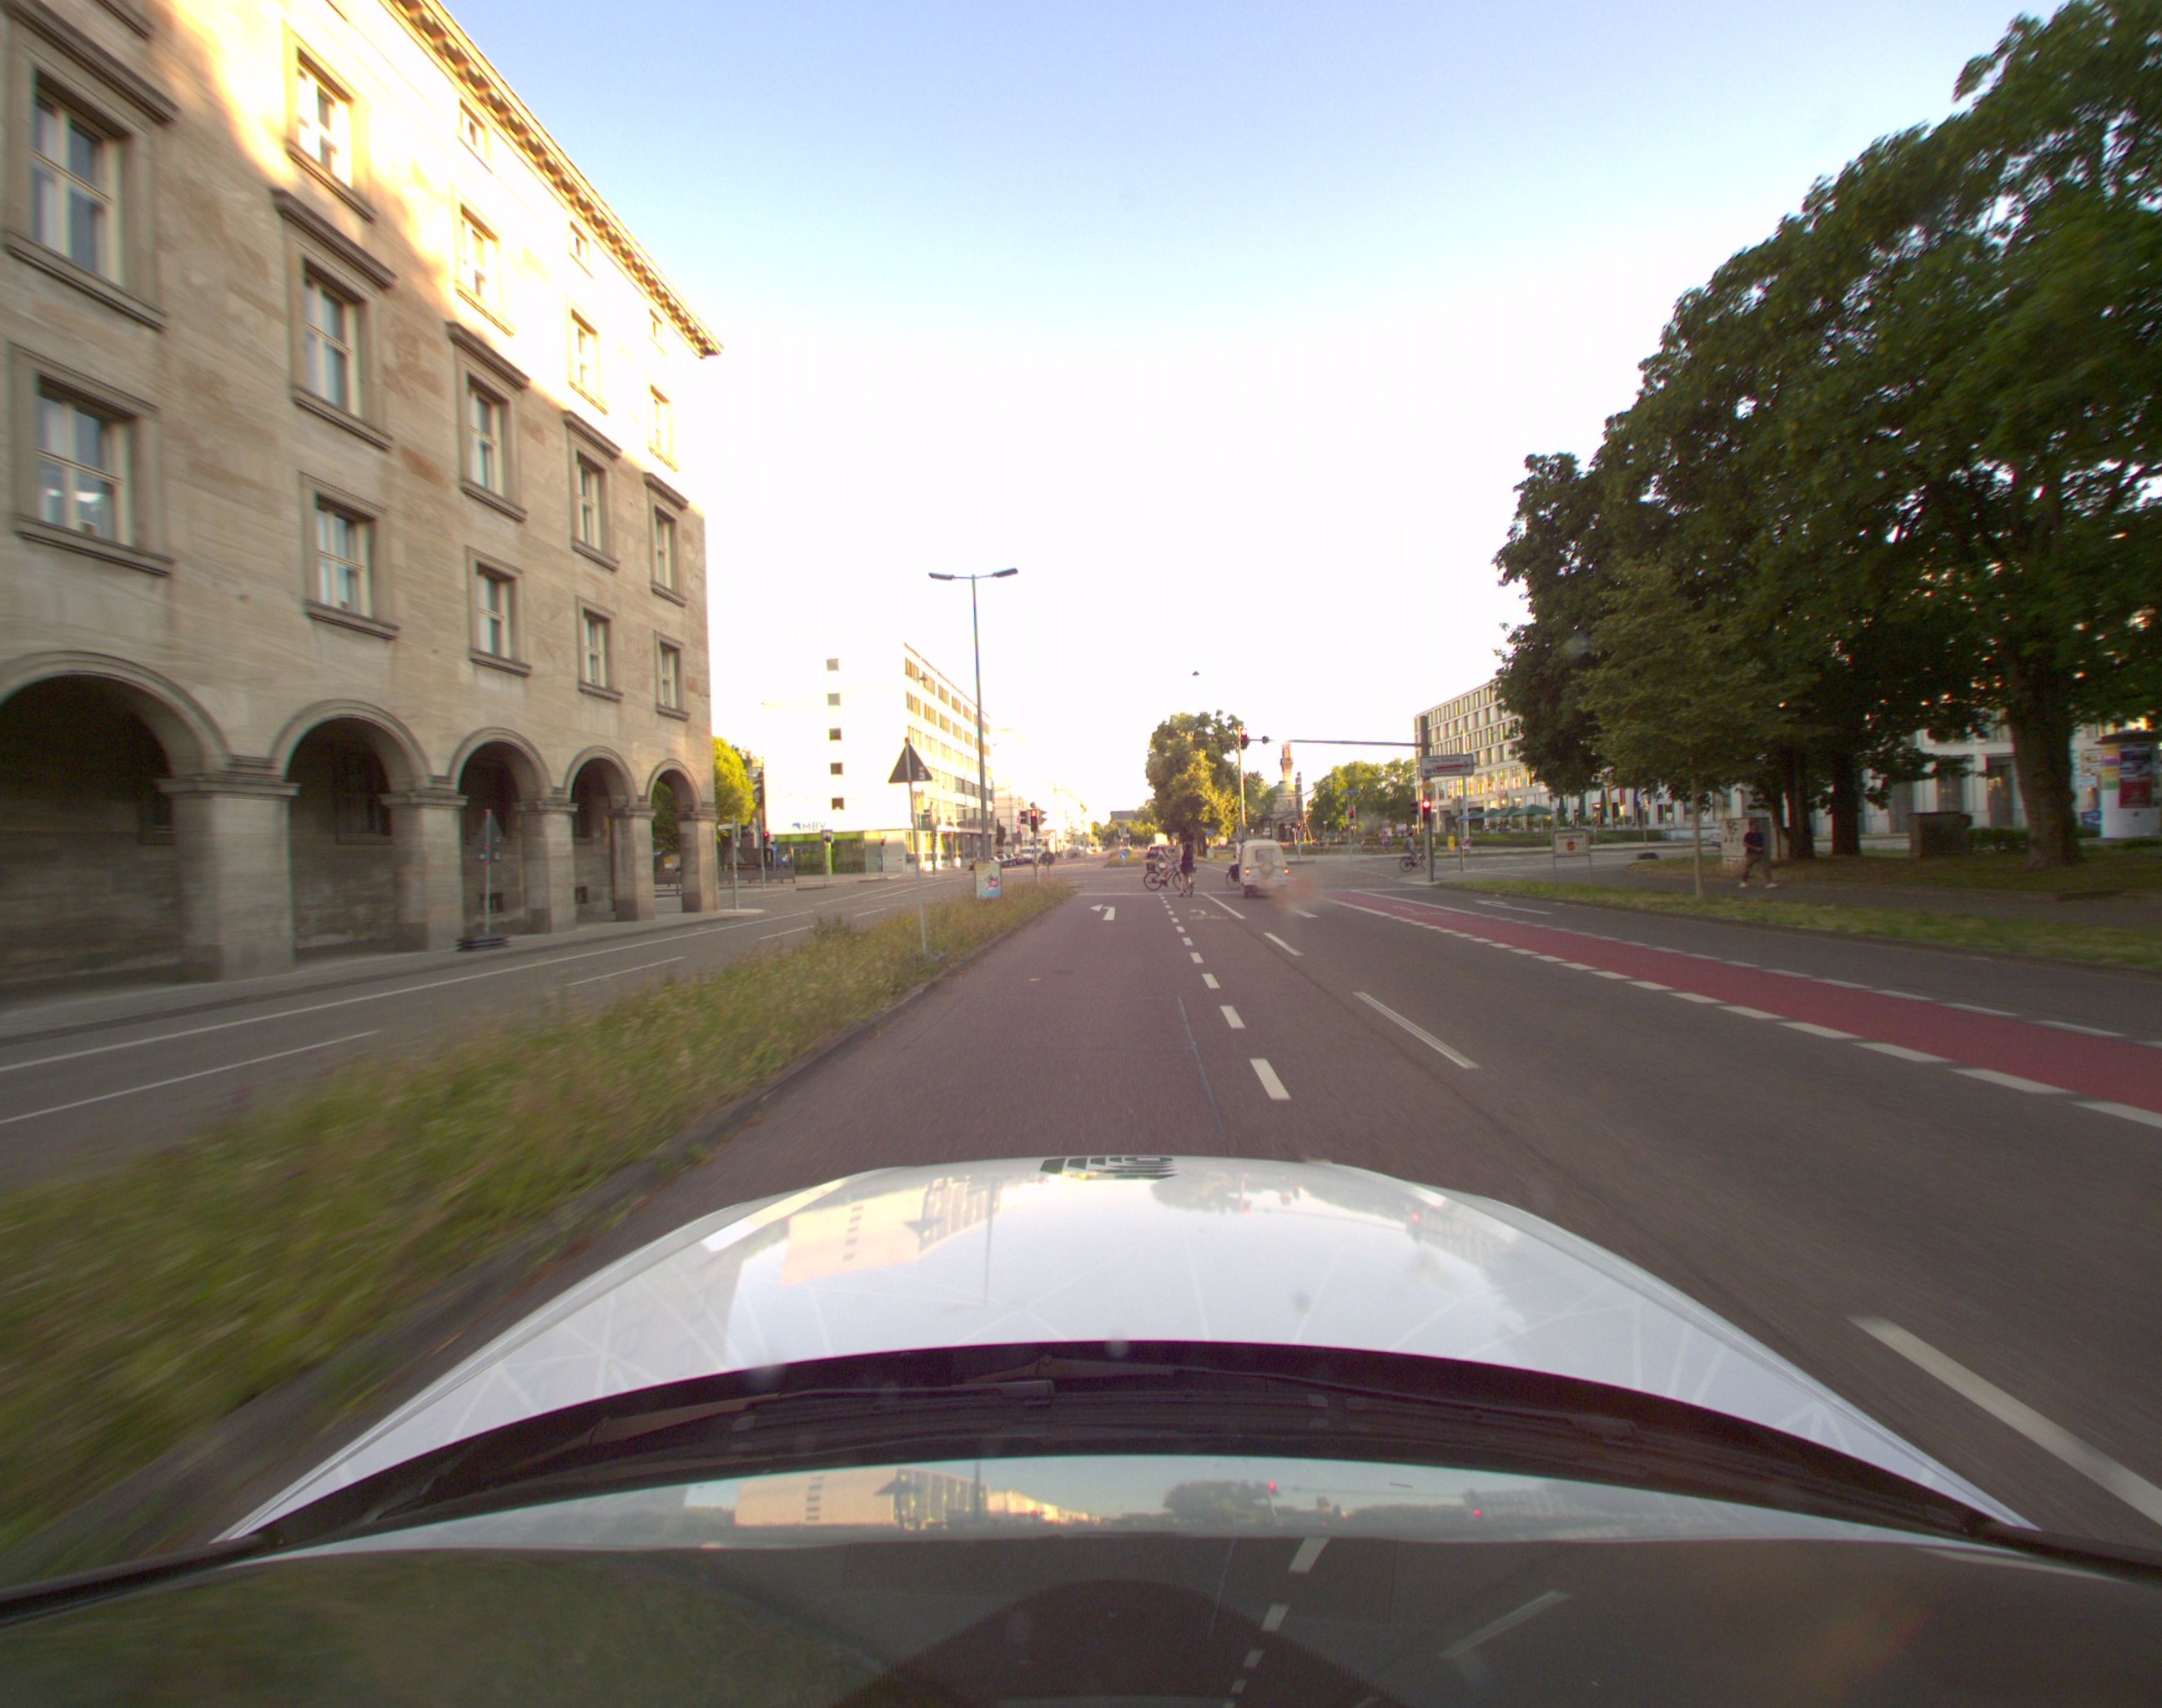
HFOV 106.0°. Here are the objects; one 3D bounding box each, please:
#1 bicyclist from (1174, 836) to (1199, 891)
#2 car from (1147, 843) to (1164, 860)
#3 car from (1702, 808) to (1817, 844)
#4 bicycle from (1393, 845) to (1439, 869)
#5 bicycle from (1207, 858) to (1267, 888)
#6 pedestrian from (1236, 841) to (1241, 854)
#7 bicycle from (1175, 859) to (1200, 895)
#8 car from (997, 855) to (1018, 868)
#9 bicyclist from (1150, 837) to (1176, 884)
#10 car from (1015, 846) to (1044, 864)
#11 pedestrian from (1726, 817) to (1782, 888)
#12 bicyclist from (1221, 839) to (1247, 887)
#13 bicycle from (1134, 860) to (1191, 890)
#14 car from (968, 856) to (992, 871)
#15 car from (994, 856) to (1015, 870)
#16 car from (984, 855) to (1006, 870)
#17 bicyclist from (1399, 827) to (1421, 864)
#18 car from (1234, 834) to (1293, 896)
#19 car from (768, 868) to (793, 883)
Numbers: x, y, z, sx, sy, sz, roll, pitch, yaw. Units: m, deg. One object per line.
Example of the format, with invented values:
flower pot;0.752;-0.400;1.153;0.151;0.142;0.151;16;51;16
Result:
bicyclist;3.337;0.293;25.801;0.625;1.693;0.749;-3;0;3
car;9.676;-0.351;105.631;1.985;2.013;4.003;-3;0;3
car;35.634;-1.473;42.823;4.525;1.648;1.997;-3;0;-5
bicycle;16.054;0.133;39.022;1.887;1.069;0.732;-2;0;6
bicycle;5.652;0.680;29.567;2.041;1.069;0.791;0;1;19
pedestrian;20.678;-0.863;107.237;0.506;1.668;0.531;-3;0;2
bicycle;3.384;0.713;26.116;0.634;1.069;2.071;-2;0;4
car;-9.255;0.959;102.726;1.786;1.475;4.008;-3;-2;7
bicyclist;3.014;0.224;30.020;0.740;1.693;0.718;-3;0;17
car;-7.223;0.168;115.643;2.160;2.385;6.013;-3;-2;15
pedestrian;16.731;-0.044;20.264;0.692;1.693;0.749;-3;0;2
bicyclist;5.558;0.318;29.543;0.740;1.693;0.769;-3;0;19
bicycle;3.017;0.748;30.037;2.000;1.069;0.734;0;1;15
car;-10.658;1.040;86.093;1.789;1.475;4.002;-3;-2;3
car;-9.158;1.119;97.559;1.789;1.475;4.002;-3;-2;3
car;-9.810;0.974;93.006;1.789;1.475;4.002;-3;-2;3
bicyclist;15.778;-0.405;39.054;0.742;1.693;0.716;-3;0;6
car;5.653;0.288;25.415;1.452;1.780;2.569;-2;1;6
car;-23.441;1.641;63.531;0.850;1.073;2.524;-3;0;3
